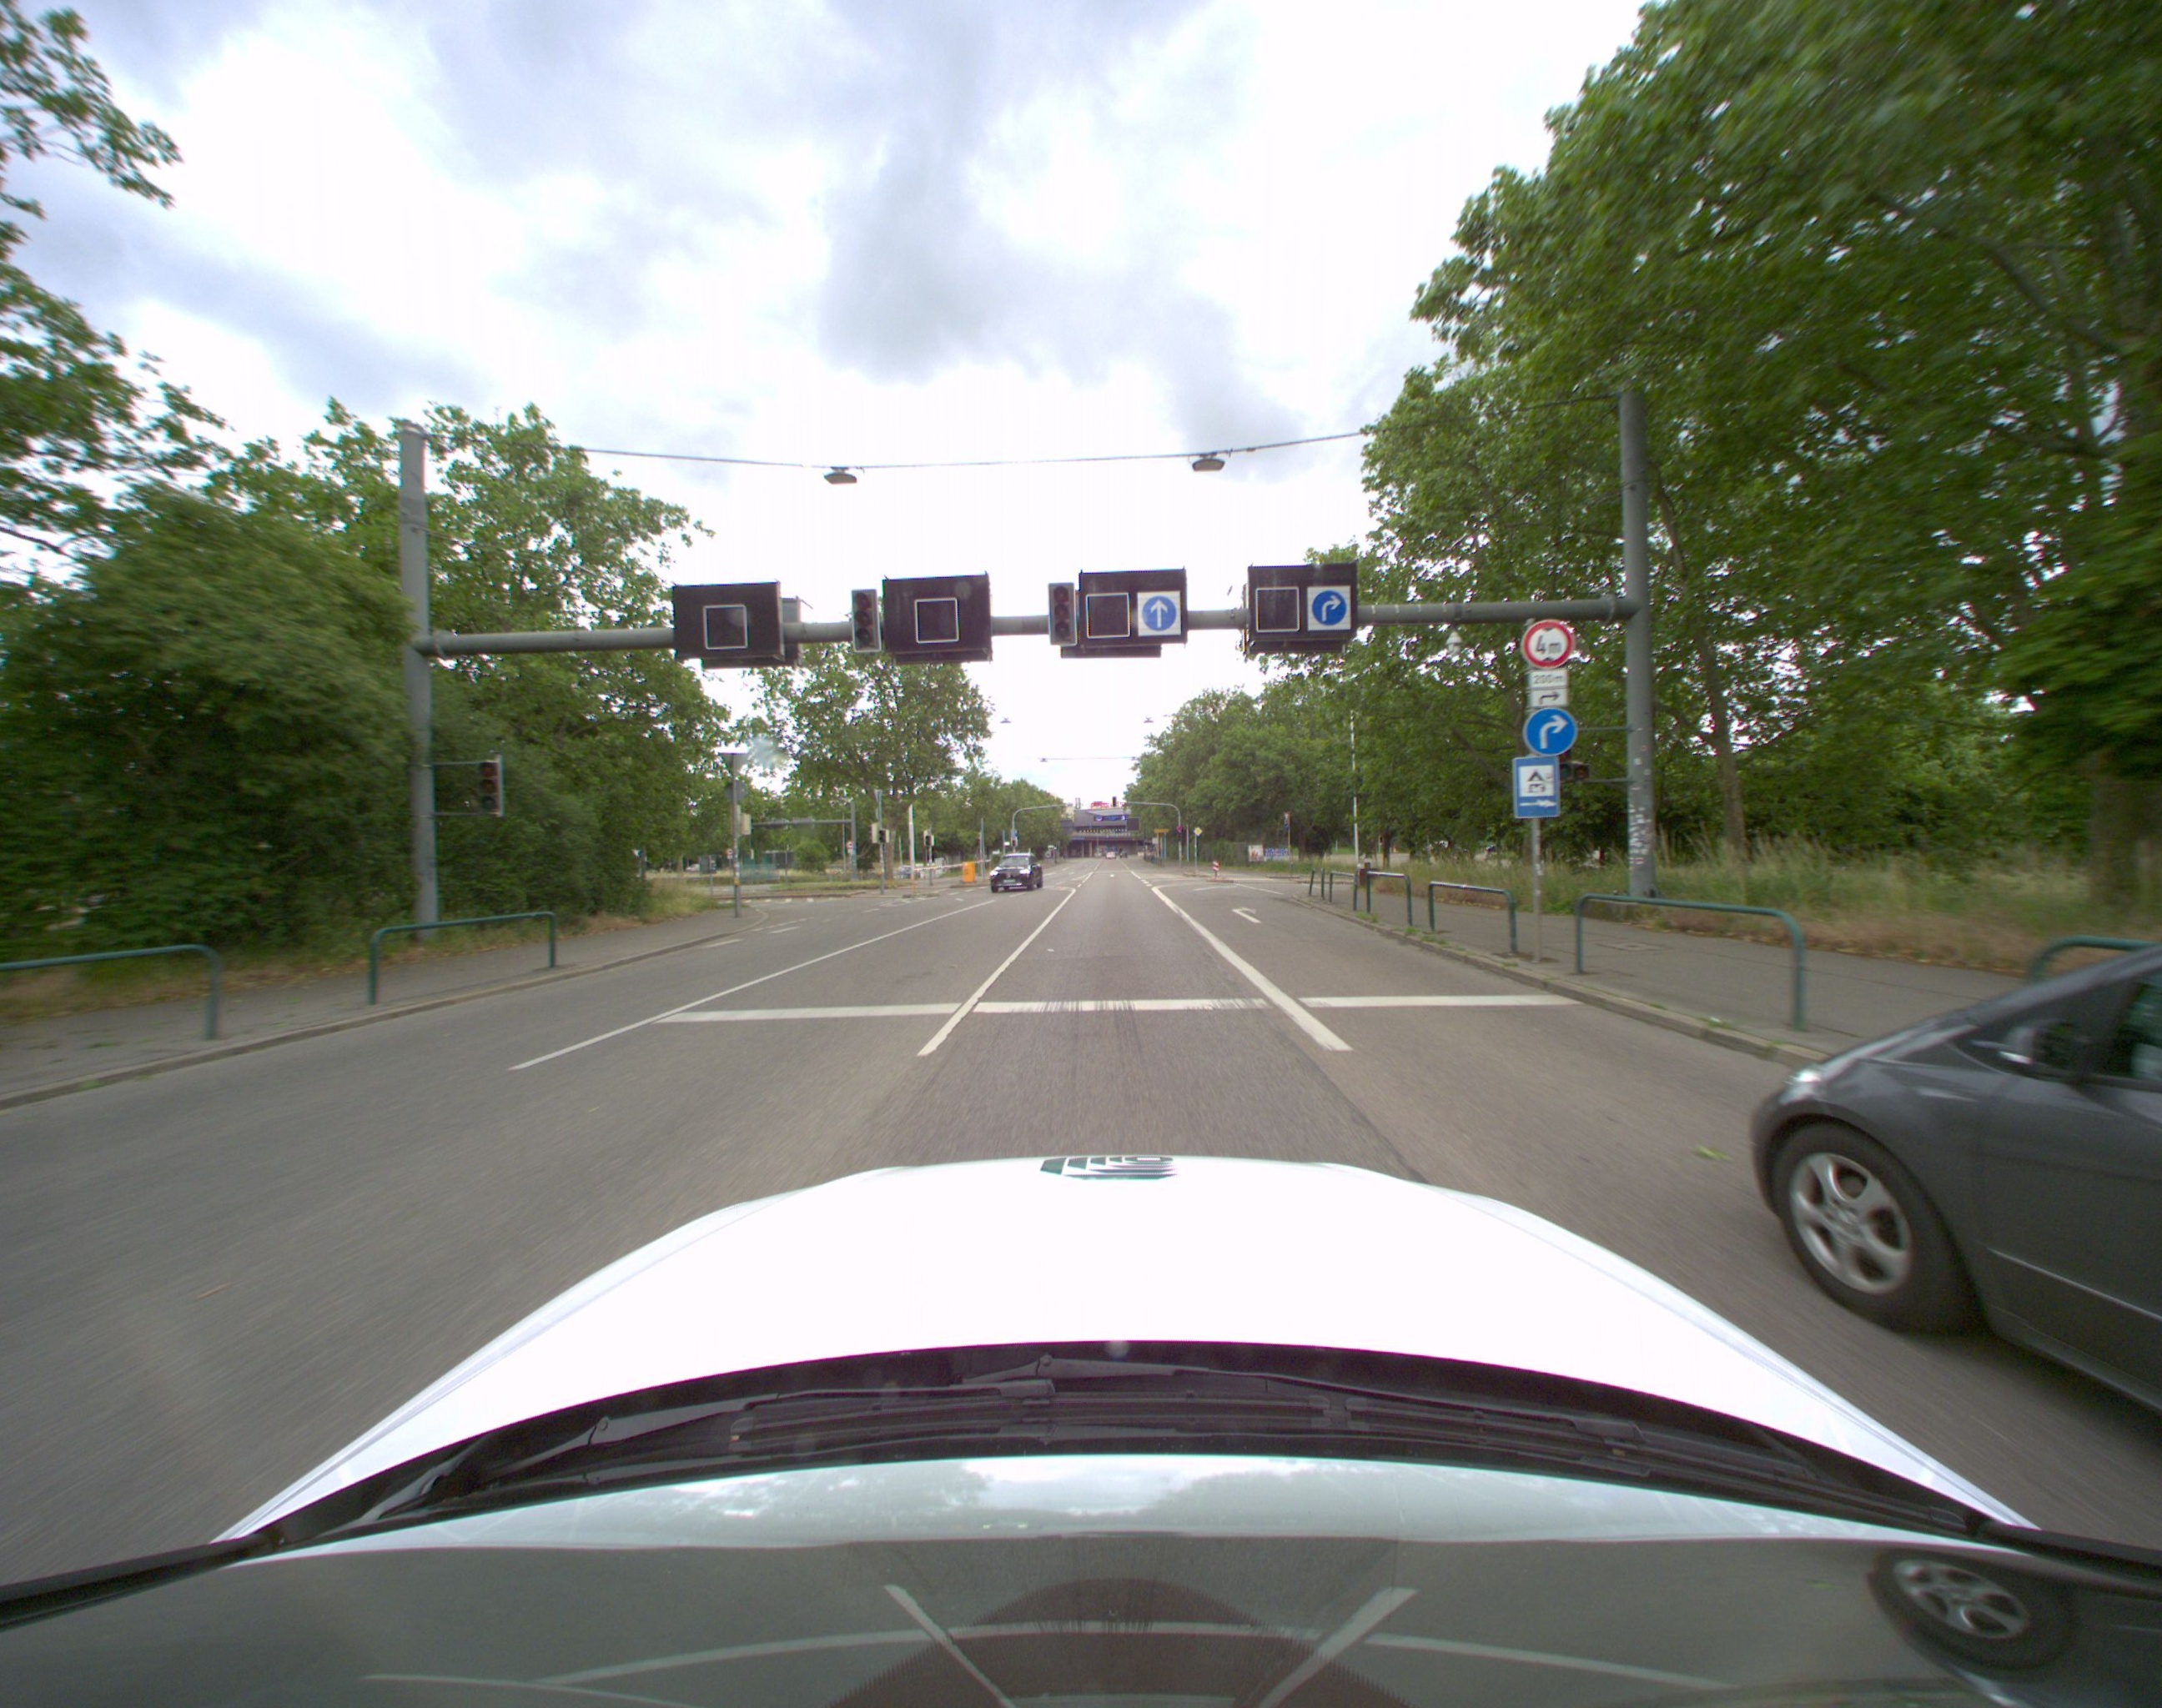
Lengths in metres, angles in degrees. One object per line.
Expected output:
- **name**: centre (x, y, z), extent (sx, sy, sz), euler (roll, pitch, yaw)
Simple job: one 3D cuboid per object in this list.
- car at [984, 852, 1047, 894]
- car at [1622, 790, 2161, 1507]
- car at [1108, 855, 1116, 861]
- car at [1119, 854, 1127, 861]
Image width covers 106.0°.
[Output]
- **car**: centre (-2.863, 0.811, 36.630), extent (1.984, 1.660, 4.523), euler (-3, 0, 5)
- **car**: centre (3.330, 0.652, 1.718), extent (1.819, 1.616, 4.036), euler (-1, 1, 2)
- **car**: centre (7.270, 0.902, 191.470), extent (1.771, 1.460, 3.825), euler (0, 0, 3)
- **car**: centre (11.211, 0.939, 215.267), extent (1.999, 1.698, 4.073), euler (-1, 0, 3)
